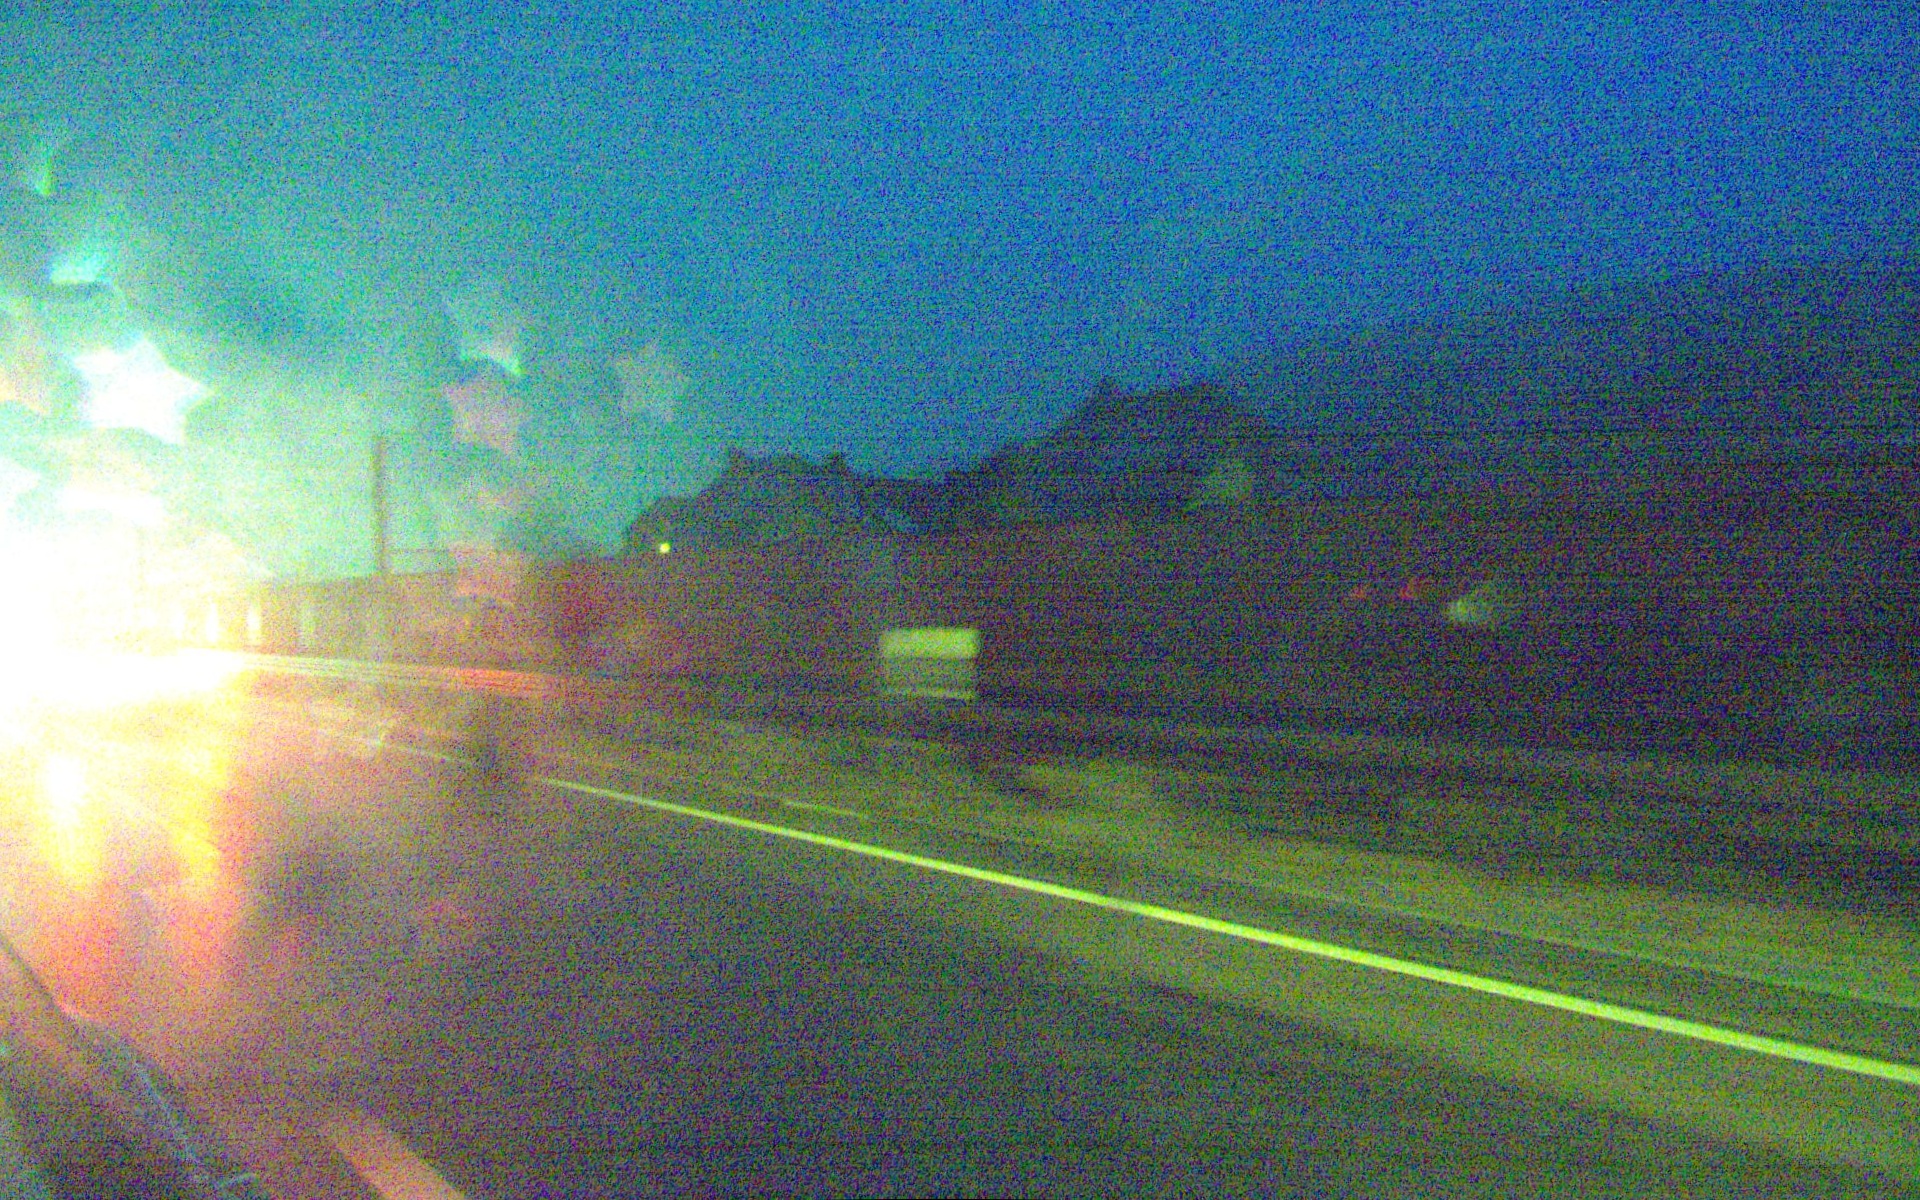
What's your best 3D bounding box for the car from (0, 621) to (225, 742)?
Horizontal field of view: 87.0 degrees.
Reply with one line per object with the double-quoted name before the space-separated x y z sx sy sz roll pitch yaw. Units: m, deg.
"car" -12.140 1.031 14.337 4.595 1.404 1.972 -2 -1 43
